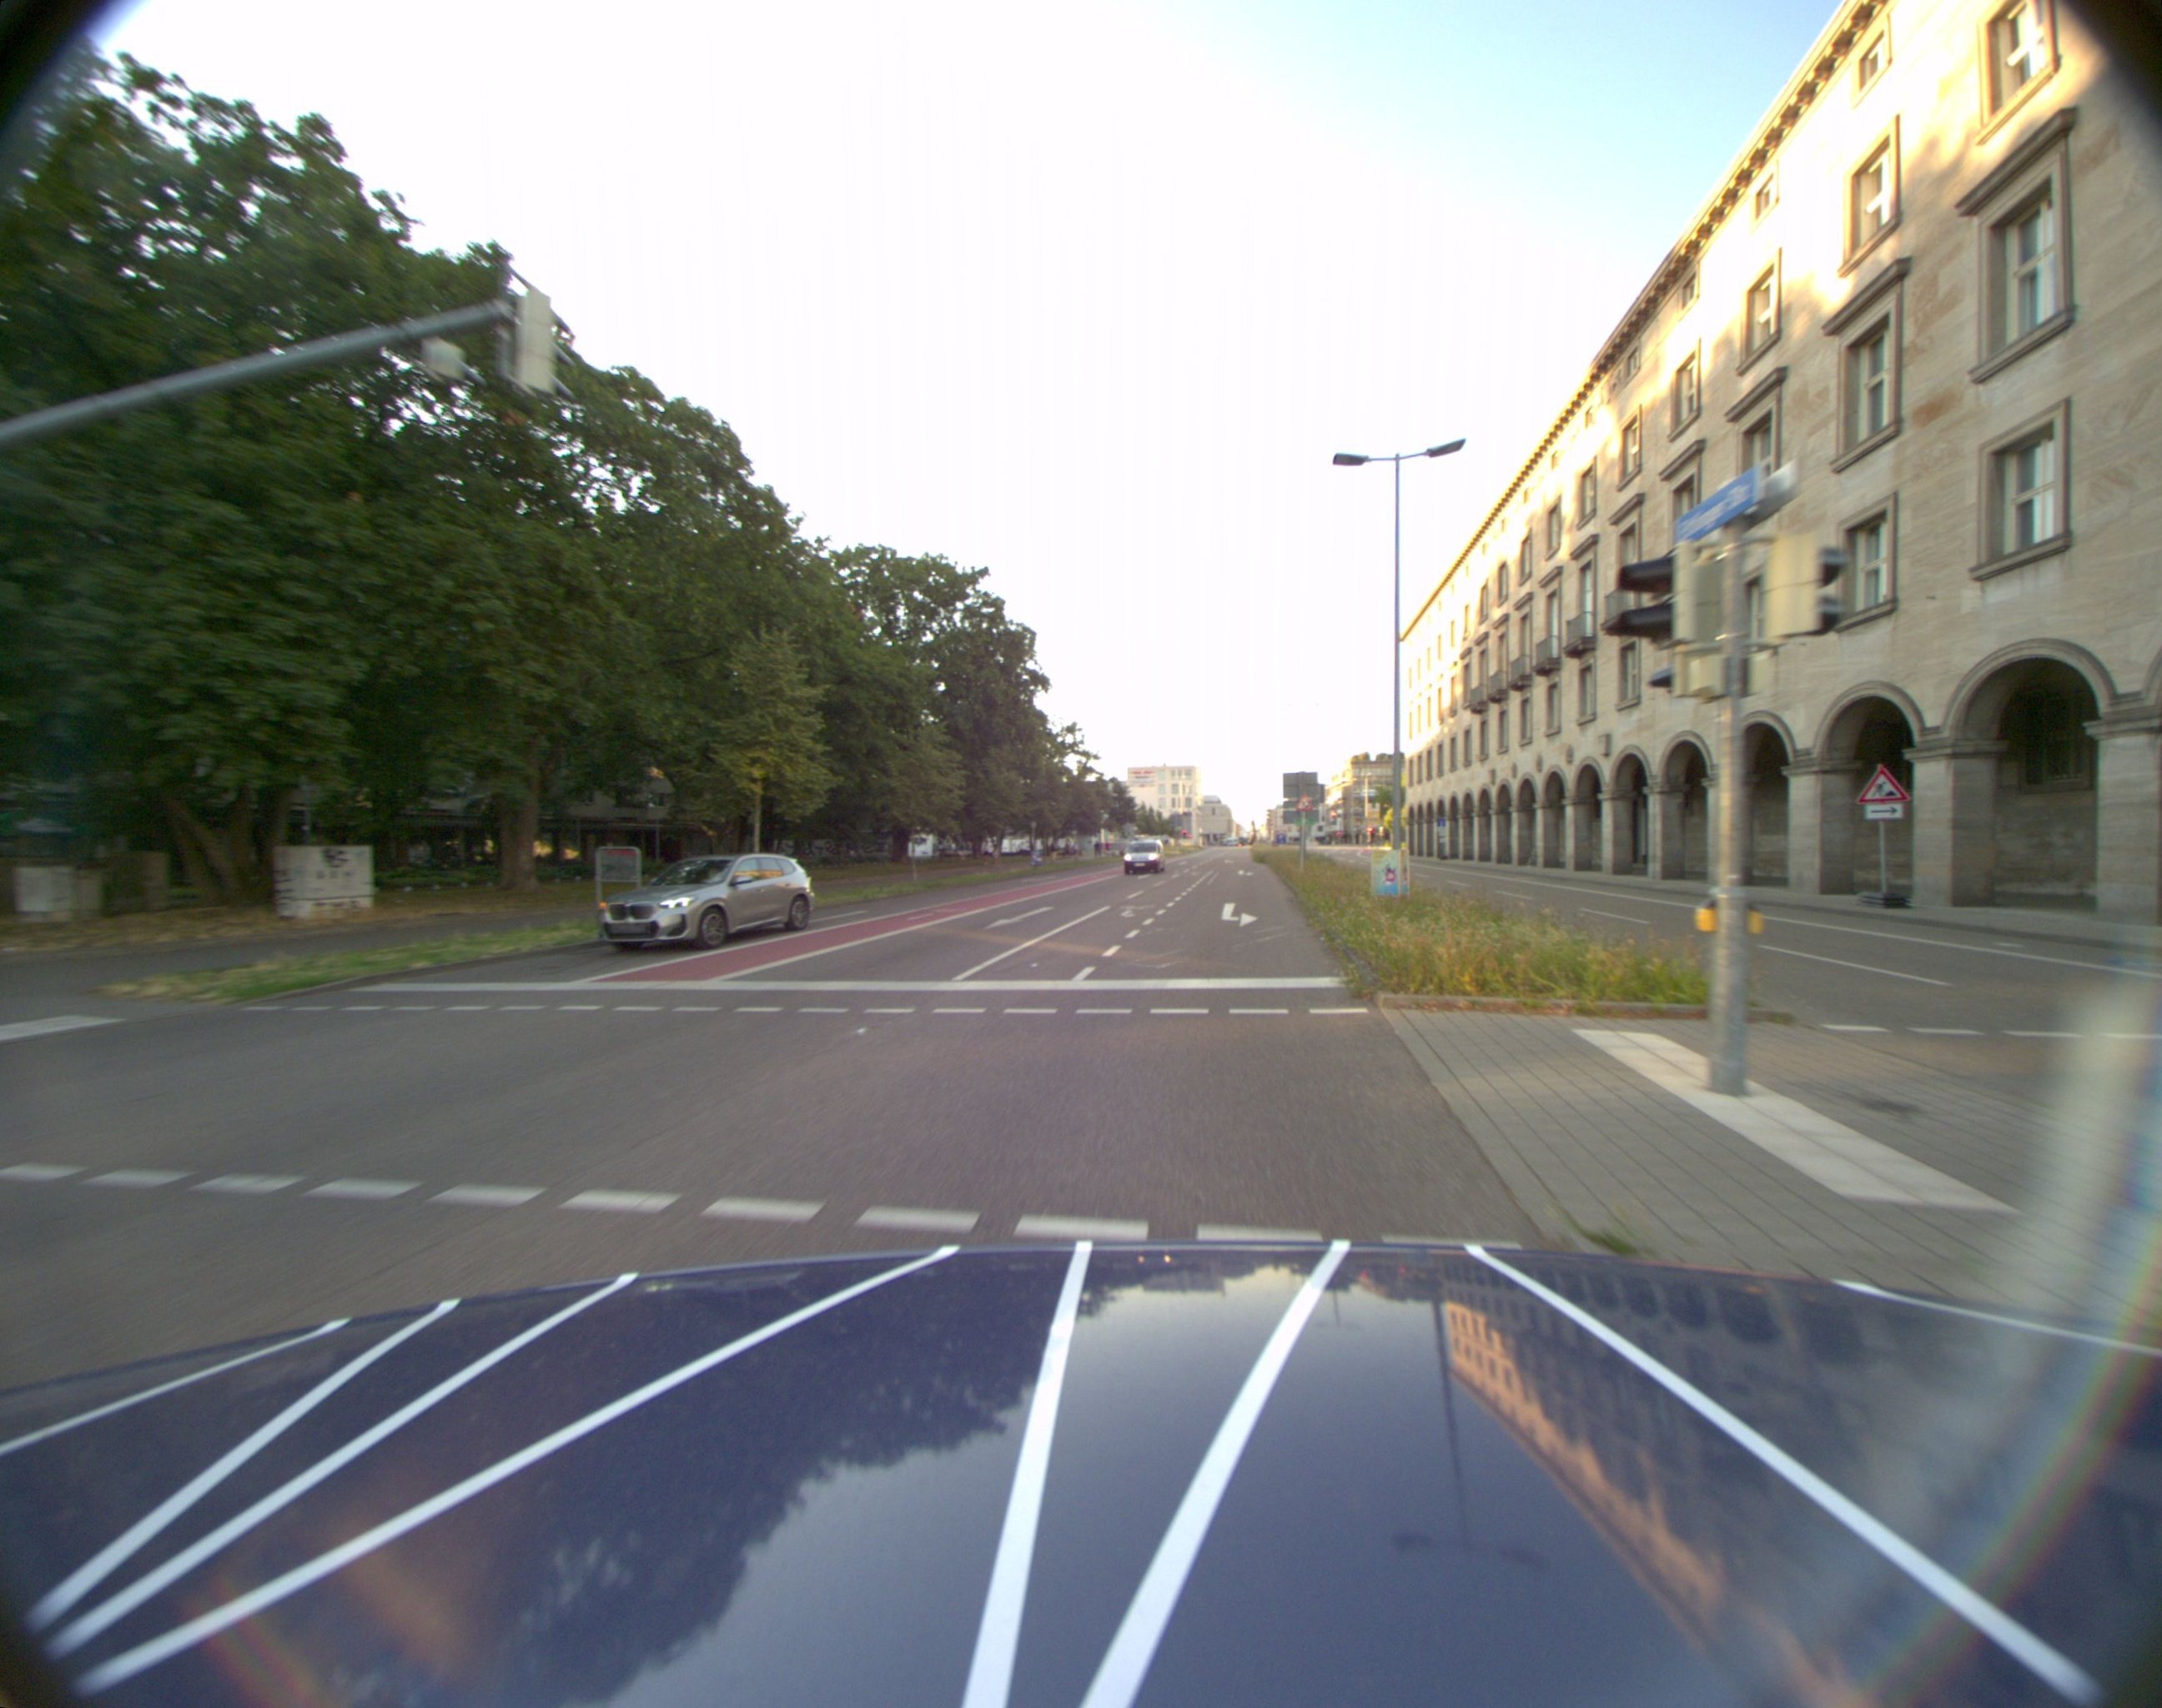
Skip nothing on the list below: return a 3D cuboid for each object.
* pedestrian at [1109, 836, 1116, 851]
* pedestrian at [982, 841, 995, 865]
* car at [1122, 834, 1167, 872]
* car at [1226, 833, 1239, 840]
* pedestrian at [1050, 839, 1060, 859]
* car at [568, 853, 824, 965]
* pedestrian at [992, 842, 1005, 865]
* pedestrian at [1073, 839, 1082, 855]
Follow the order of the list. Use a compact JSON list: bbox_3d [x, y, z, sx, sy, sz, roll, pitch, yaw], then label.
[{"bbox_3d":[3.508,-1.149,84.702,0.631,1.656,0.646,-1,2,0],"label":"pedestrian"},{"bbox_3d":[-6.287,-0.084,51.445,0.645,1.585,0.678,0,2,15],"label":"pedestrian"},{"bbox_3d":[3.420,-0.080,40.207,1.803,1.900,4.468,0,1,11],"label":"car"},{"bbox_3d":[44.700,-5.232,224.169,1.995,2.001,4.008,-6,-2,39],"label":"car"},{"bbox_3d":[-2.179,-0.394,62.671,0.631,1.653,0.647,0,2,17],"label":"pedestrian"},{"bbox_3d":[-6.836,0.863,14.140,1.884,1.654,4.349,0,1,12],"label":"car"},{"bbox_3d":[-5.567,-0.025,51.168,0.676,1.488,0.646,0,2,14],"label":"pedestrian"},{"bbox_3d":[-0.312,-0.635,71.191,0.631,1.455,0.646,0,2,15],"label":"pedestrian"}]
